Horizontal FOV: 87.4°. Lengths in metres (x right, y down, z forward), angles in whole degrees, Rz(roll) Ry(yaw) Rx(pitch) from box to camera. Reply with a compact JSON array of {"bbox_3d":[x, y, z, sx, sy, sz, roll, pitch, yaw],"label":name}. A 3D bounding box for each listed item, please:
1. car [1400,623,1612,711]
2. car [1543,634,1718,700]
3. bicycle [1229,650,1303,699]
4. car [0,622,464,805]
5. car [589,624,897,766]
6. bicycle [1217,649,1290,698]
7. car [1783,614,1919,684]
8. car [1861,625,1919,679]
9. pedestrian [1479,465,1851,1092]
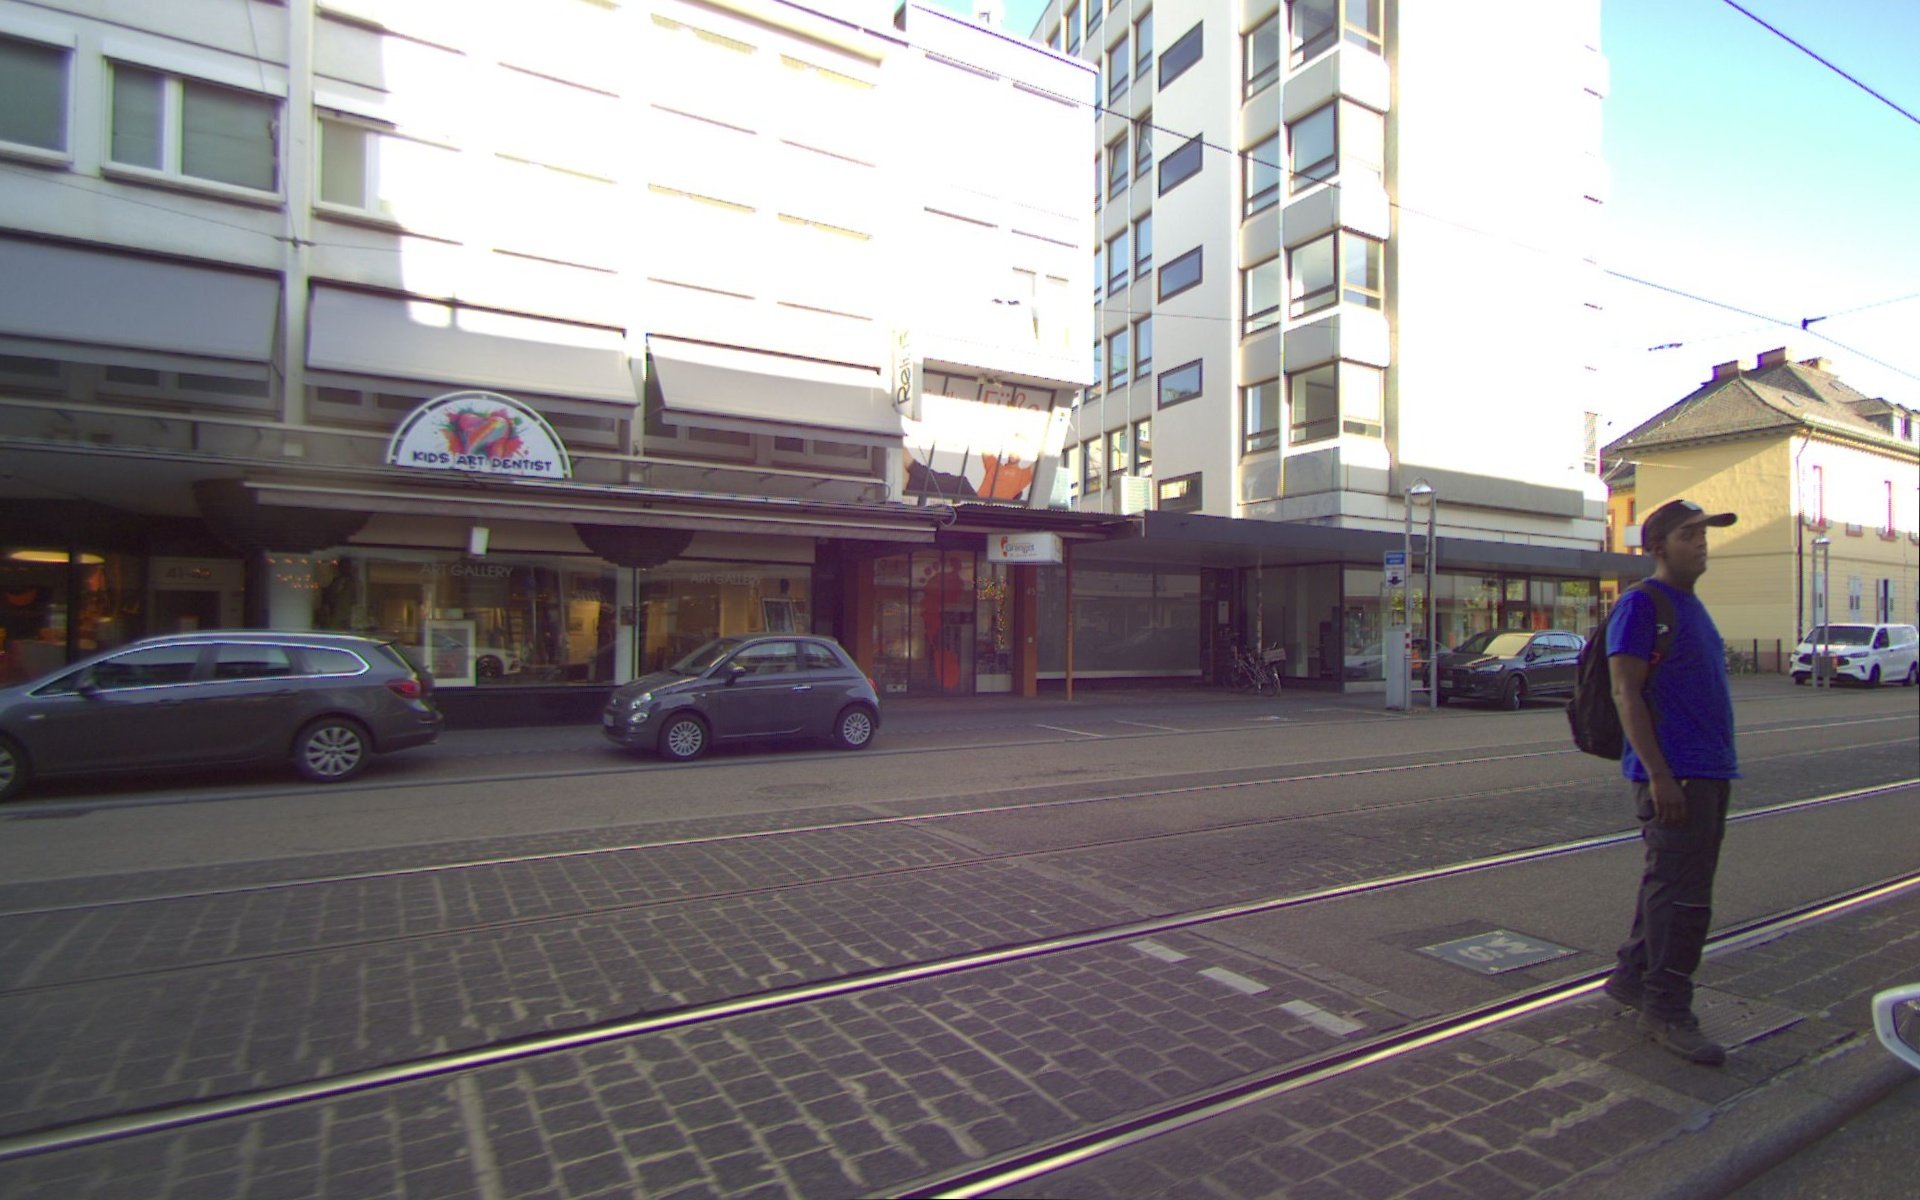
[{"bbox_3d":[11.954,1.405,21.929,4.600,1.701,1.969,2,0,-30],"label":"car"},{"bbox_3d":[16.658,1.607,24.910,4.604,1.440,1.878,2,0,-32],"label":"car"},{"bbox_3d":[7.216,1.733,23.778,0.418,1.012,1.928,1,0,-29],"label":"bicycle"},{"bbox_3d":[-7.760,1.042,10.174,4.794,1.544,1.729,2,0,-30],"label":"car"},{"bbox_3d":[-2.757,1.132,12.984,3.551,1.544,1.591,2,0,-33],"label":"car"},{"bbox_3d":[6.852,1.708,23.571,0.376,1.012,1.928,1,0,-29],"label":"bicycle"},{"bbox_3d":[28.261,1.512,31.684,5.038,2.001,1.983,2,0,-31],"label":"car"},{"bbox_3d":[33.277,1.779,34.659,4.590,1.708,1.800,2,0,-28],"label":"car"},{"bbox_3d":[2.450,0.548,3.541,0.738,1.861,0.800,1,-3,-32],"label":"pedestrian"}]
